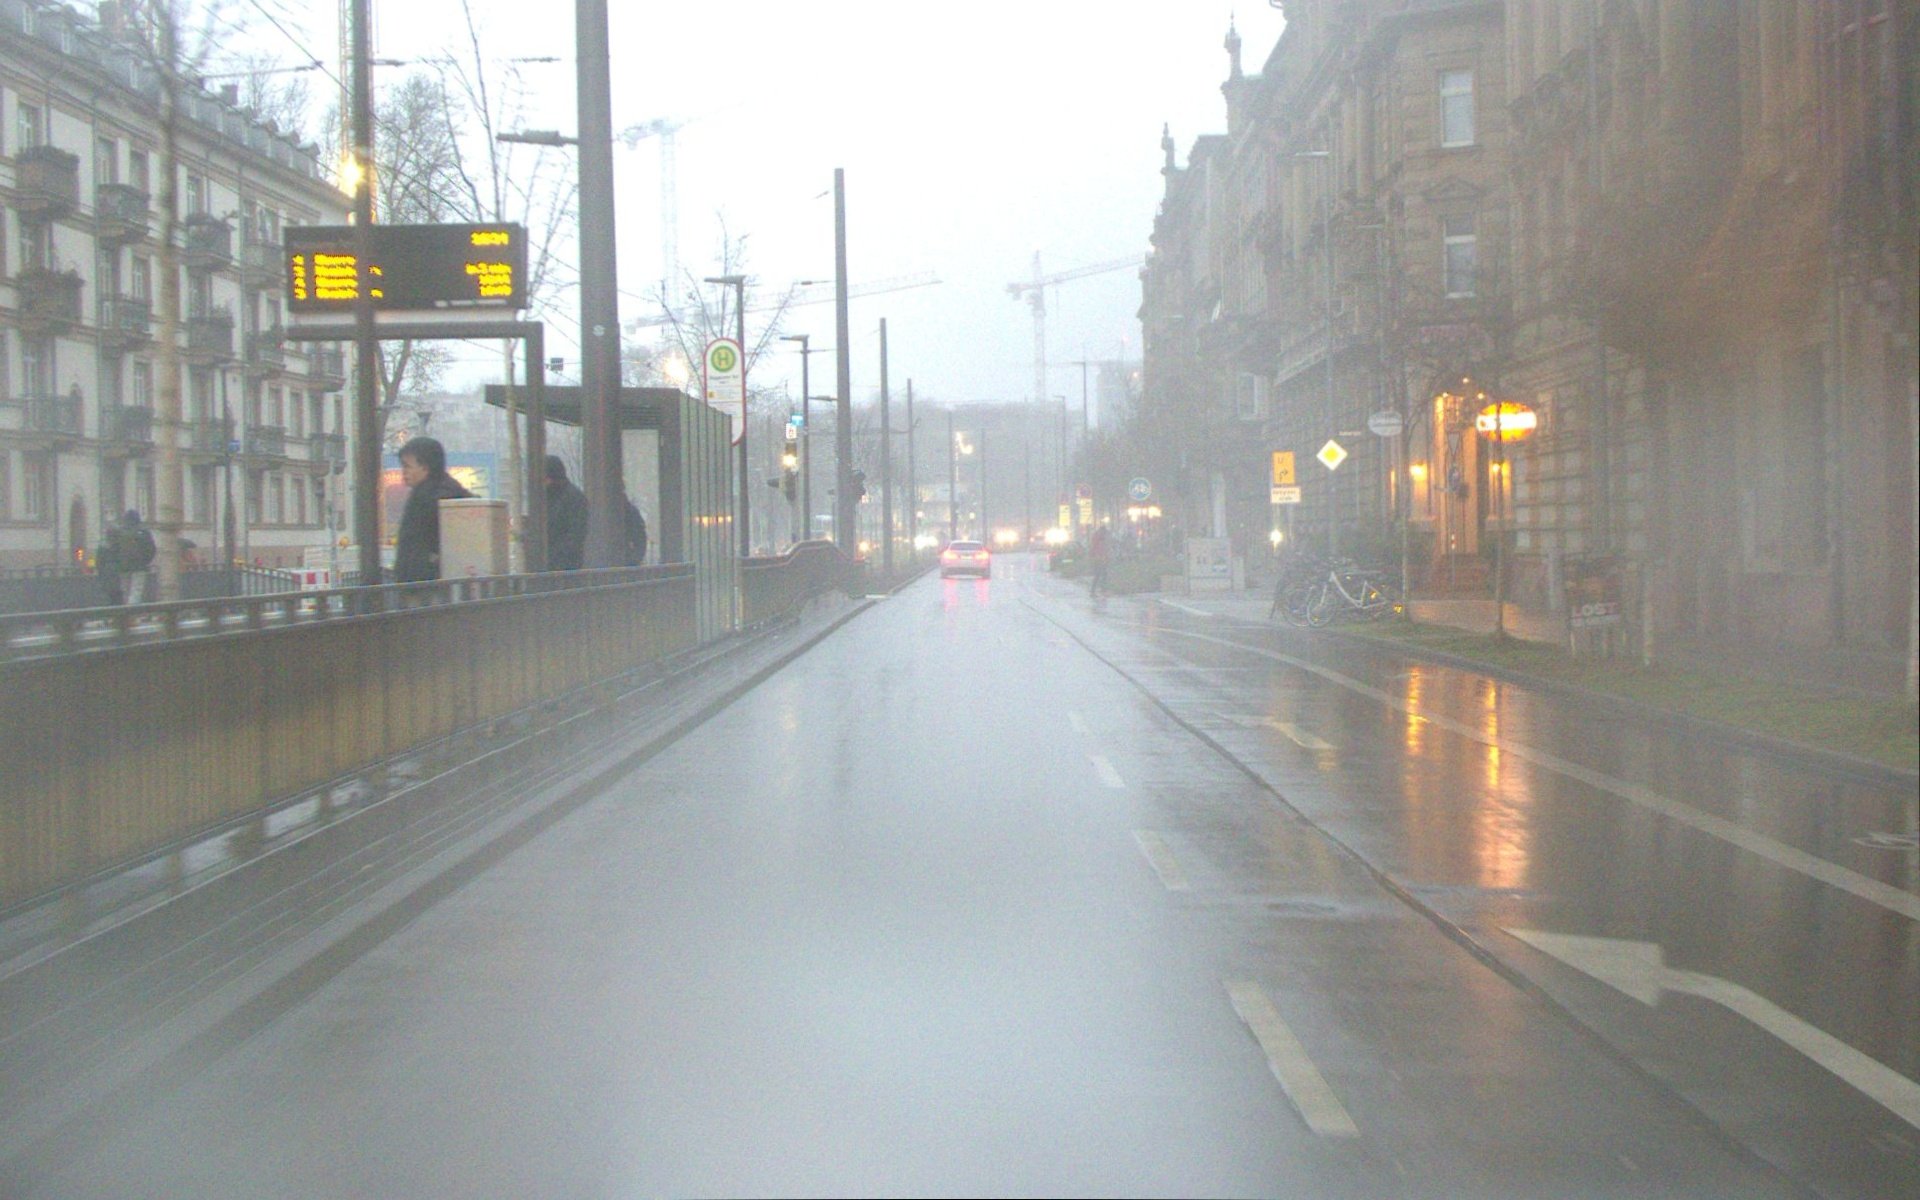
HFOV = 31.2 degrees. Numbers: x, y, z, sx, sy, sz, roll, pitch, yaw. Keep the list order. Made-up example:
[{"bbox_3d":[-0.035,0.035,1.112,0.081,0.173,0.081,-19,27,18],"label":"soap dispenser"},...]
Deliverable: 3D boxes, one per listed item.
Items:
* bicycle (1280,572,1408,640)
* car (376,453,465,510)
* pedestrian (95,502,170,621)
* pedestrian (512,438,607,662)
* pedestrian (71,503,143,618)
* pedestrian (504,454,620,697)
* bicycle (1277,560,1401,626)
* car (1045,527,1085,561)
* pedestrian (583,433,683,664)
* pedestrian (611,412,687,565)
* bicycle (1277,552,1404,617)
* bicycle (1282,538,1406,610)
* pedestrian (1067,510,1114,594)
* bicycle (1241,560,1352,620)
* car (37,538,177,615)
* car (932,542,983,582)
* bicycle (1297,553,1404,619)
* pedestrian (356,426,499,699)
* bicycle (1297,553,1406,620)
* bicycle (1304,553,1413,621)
[{"bbox_3d":[6.736,0.103,60.304,2.144,1.051,0.425,-3,2,0],"label":"bicycle"},{"bbox_3d":[-13.362,-2.918,85.238,1.681,1.349,3.546,0,1,-1],"label":"car"},{"bbox_3d":[-12.431,-0.579,51.638,0.795,1.773,0.822,0,1,-41],"label":"pedestrian"},{"bbox_3d":[-3.825,-0.485,32.905,0.809,2.103,0.804,-1,1,-2],"label":"pedestrian"},{"bbox_3d":[-13.273,-0.622,53.472,0.795,1.773,0.822,0,1,-41],"label":"pedestrian"},{"bbox_3d":[-3.228,-0.206,27.956,0.809,1.941,0.804,-1,1,1],"label":"pedestrian"},{"bbox_3d":[6.854,-0.127,62.240,2.144,1.051,0.425,-4,2,-1],"label":"bicycle"},{"bbox_3d":[5.066,-2.700,165.196,1.799,1.598,3.770,-1,1,3],"label":"car"},{"bbox_3d":[-3.027,-0.483,31.866,0.809,2.103,0.804,-1,1,1],"label":"pedestrian"},{"bbox_3d":[-3.106,-1.105,34.274,0.679,1.511,0.619,-1,1,-12],"label":"pedestrian"},{"bbox_3d":[6.718,-0.269,60.750,2.144,1.051,0.484,-2,1,-1],"label":"bicycle"},{"bbox_3d":[6.585,-0.447,59.027,2.008,1.091,0.425,-4,1,-1],"label":"bicycle"},{"bbox_3d":[3.172,-1.165,83.523,0.916,2.007,0.855,-1,1,19],"label":"pedestrian"},{"bbox_3d":[6.332,-0.191,64.670,2.087,1.048,0.478,-3,1,-26],"label":"bicycle"},{"bbox_3d":[-15.271,-0.431,61.689,1.681,1.349,3.546,0,1,-1],"label":"car"},{"bbox_3d":[-0.077,-1.453,130.617,1.784,1.462,3.148,-1,1,2],"label":"car"},{"bbox_3d":[6.603,-0.237,58.174,1.729,1.051,0.371,-2,1,-1],"label":"bicycle"},{"bbox_3d":[-3.388,-0.241,21.841,0.776,1.698,0.773,-1,1,-18],"label":"pedestrian"},{"bbox_3d":[6.557,-0.231,57.604,1.729,1.051,0.371,-2,1,-1],"label":"bicycle"},{"bbox_3d":[6.616,-0.224,57.101,1.729,1.051,0.371,-2,1,-1],"label":"bicycle"}]
